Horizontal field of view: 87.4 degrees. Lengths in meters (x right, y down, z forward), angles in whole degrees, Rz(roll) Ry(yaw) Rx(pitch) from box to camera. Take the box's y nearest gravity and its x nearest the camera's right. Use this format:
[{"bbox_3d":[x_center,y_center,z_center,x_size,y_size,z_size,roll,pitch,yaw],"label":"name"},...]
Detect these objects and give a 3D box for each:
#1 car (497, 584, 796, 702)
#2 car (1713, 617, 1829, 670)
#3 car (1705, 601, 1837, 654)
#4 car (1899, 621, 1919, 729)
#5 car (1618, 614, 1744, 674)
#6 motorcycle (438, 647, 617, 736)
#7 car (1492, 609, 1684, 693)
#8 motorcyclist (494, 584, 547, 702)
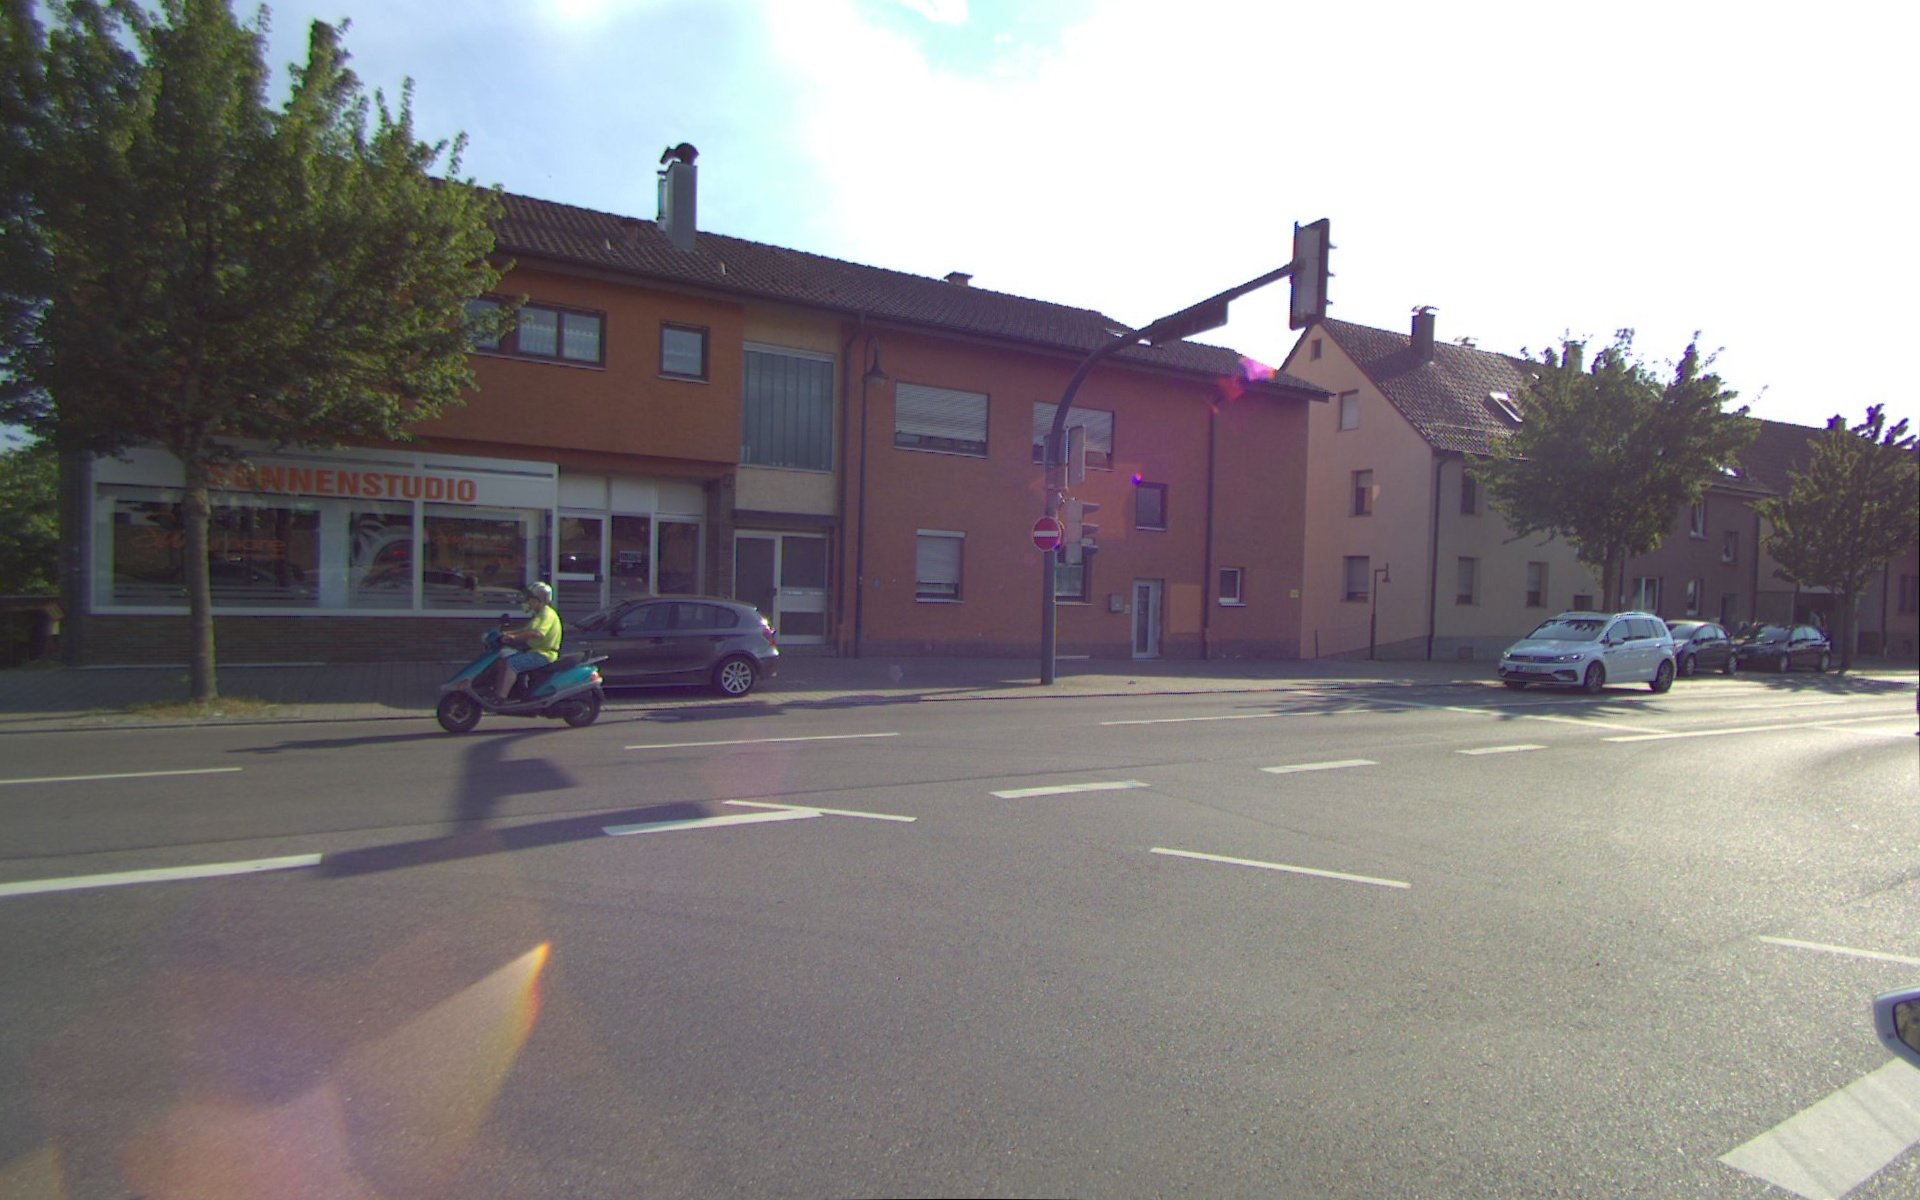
[{"bbox_3d":[-4.571,0.583,14.721,3.893,1.433,1.787,1,4,-29],"label":"car"},{"bbox_3d":[25.655,1.345,31.731,4.087,1.531,1.610,1,0,-32],"label":"car"},{"bbox_3d":[33.419,1.106,41.509,1.757,1.906,3.805,2,2,-28],"label":"car"},{"bbox_3d":[15.768,1.094,14.662,4.513,1.508,1.826,1,0,-31],"label":"car"},{"bbox_3d":[20.579,1.213,28.652,3.841,1.531,1.504,1,2,-32],"label":"car"},{"bbox_3d":[-4.689,0.967,10.944,1.744,0.872,0.410,1,0,-32],"label":"motorcycle"},{"bbox_3d":[13.532,1.050,21.573,4.362,1.633,1.677,1,0,-31],"label":"car"},{"bbox_3d":[-4.771,0.455,10.891,0.457,1.245,0.401,1,0,-33],"label":"motorcyclist"}]
